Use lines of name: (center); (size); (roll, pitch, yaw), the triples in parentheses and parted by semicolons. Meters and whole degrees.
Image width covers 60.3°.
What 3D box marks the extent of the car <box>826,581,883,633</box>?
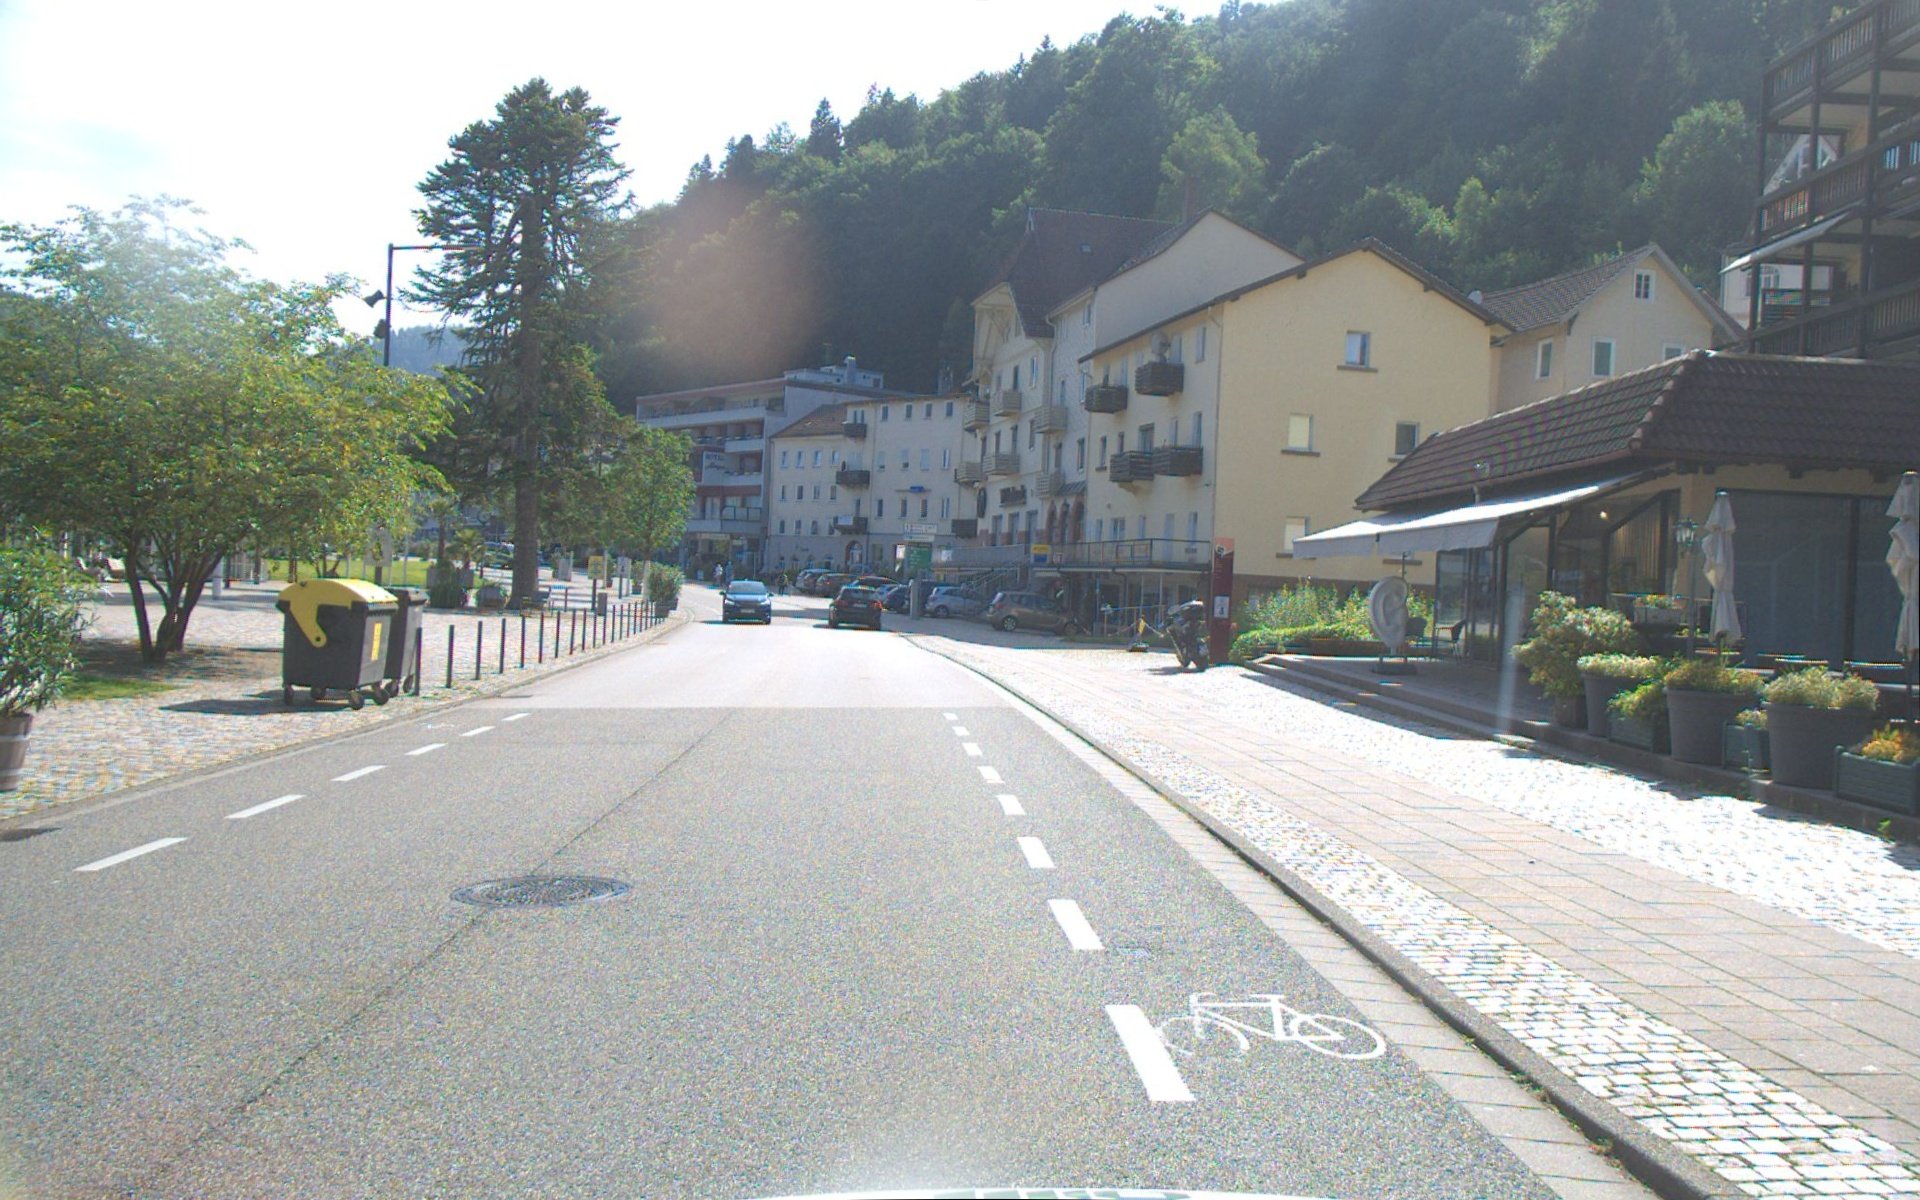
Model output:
car: (-3.895, 0.229, 60.618); (1.695, 1.601, 3.747); (4, 2, -9)

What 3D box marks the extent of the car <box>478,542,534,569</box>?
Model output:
car: (-36.299, -3.562, 132.100); (4.925, 1.987, 1.851); (2, 1, 40)

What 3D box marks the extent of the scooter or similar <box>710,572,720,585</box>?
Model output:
scooter or similar: (-18.240, -1.600, 123.066); (0.591, 0.967, 0.469); (3, 1, -34)

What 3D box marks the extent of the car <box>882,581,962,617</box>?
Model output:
car: (-1.985, -0.039, 85.796); (3.840, 1.486, 1.732); (5, 0, -11)

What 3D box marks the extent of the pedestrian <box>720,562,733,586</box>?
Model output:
pedestrian: (-17.505, -1.928, 123.881); (0.663, 1.758, 0.699); (3, 1, -33)

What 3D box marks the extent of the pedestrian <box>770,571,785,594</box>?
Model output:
pedestrian: (-11.824, -1.132, 107.306); (0.729, 1.467, 0.624); (0, 2, -37)

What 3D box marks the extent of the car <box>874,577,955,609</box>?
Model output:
car: (-2.532, -0.377, 92.186); (4.276, 1.486, 1.769); (4, -1, -9)

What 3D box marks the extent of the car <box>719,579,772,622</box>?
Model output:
car: (-7.753, -0.019, 60.062); (1.707, 1.488, 4.183); (1, 1, -5)

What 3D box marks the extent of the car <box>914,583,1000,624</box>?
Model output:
car: (-0.152, 0.151, 80.547); (3.840, 1.616, 1.770); (5, 1, -11)

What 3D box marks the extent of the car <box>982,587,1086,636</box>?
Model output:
car: (2.995, 0.462, 67.040); (3.794, 1.581, 1.755); (5, 0, -14)

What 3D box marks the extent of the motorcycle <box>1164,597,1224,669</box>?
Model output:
motorcycle: (4.497, 0.616, 31.976); (0.683, 1.319, 2.210); (0, 1, -5)

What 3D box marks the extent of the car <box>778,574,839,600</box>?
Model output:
car: (-10.485, -0.916, 114.194); (3.822, 1.640, 1.754); (-1, 3, -32)

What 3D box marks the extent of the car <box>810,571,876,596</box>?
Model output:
car: (-7.662, -1.120, 108.565); (3.969, 1.542, 1.754); (-1, 3, -32)

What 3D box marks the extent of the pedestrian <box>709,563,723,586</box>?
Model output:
pedestrian: (-18.118, -1.887, 122.901); (0.750, 1.621, 0.621); (3, 1, -34)

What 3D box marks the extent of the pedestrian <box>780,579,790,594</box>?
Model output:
pedestrian: (-11.383, -0.879, 107.637); (0.413, 1.019, 0.524); (0, 2, -35)

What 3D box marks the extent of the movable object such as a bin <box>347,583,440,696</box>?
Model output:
movable object such as a bin: (-7.306, 0.491, 21.387); (0.740, 1.364, 1.293); (4, 0, -4)

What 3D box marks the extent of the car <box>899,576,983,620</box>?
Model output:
car: (-0.955, -0.100, 83.218); (3.840, 1.835, 1.853); (6, -1, -11)

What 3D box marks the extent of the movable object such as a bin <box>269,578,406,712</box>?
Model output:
movable object such as a bin: (-7.299, 0.503, 19.476); (1.057, 1.452, 1.376); (4, 0, -4)

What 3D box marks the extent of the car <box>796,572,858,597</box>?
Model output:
car: (-8.983, -1.060, 111.644); (3.822, 1.576, 1.754); (-1, 3, -32)
